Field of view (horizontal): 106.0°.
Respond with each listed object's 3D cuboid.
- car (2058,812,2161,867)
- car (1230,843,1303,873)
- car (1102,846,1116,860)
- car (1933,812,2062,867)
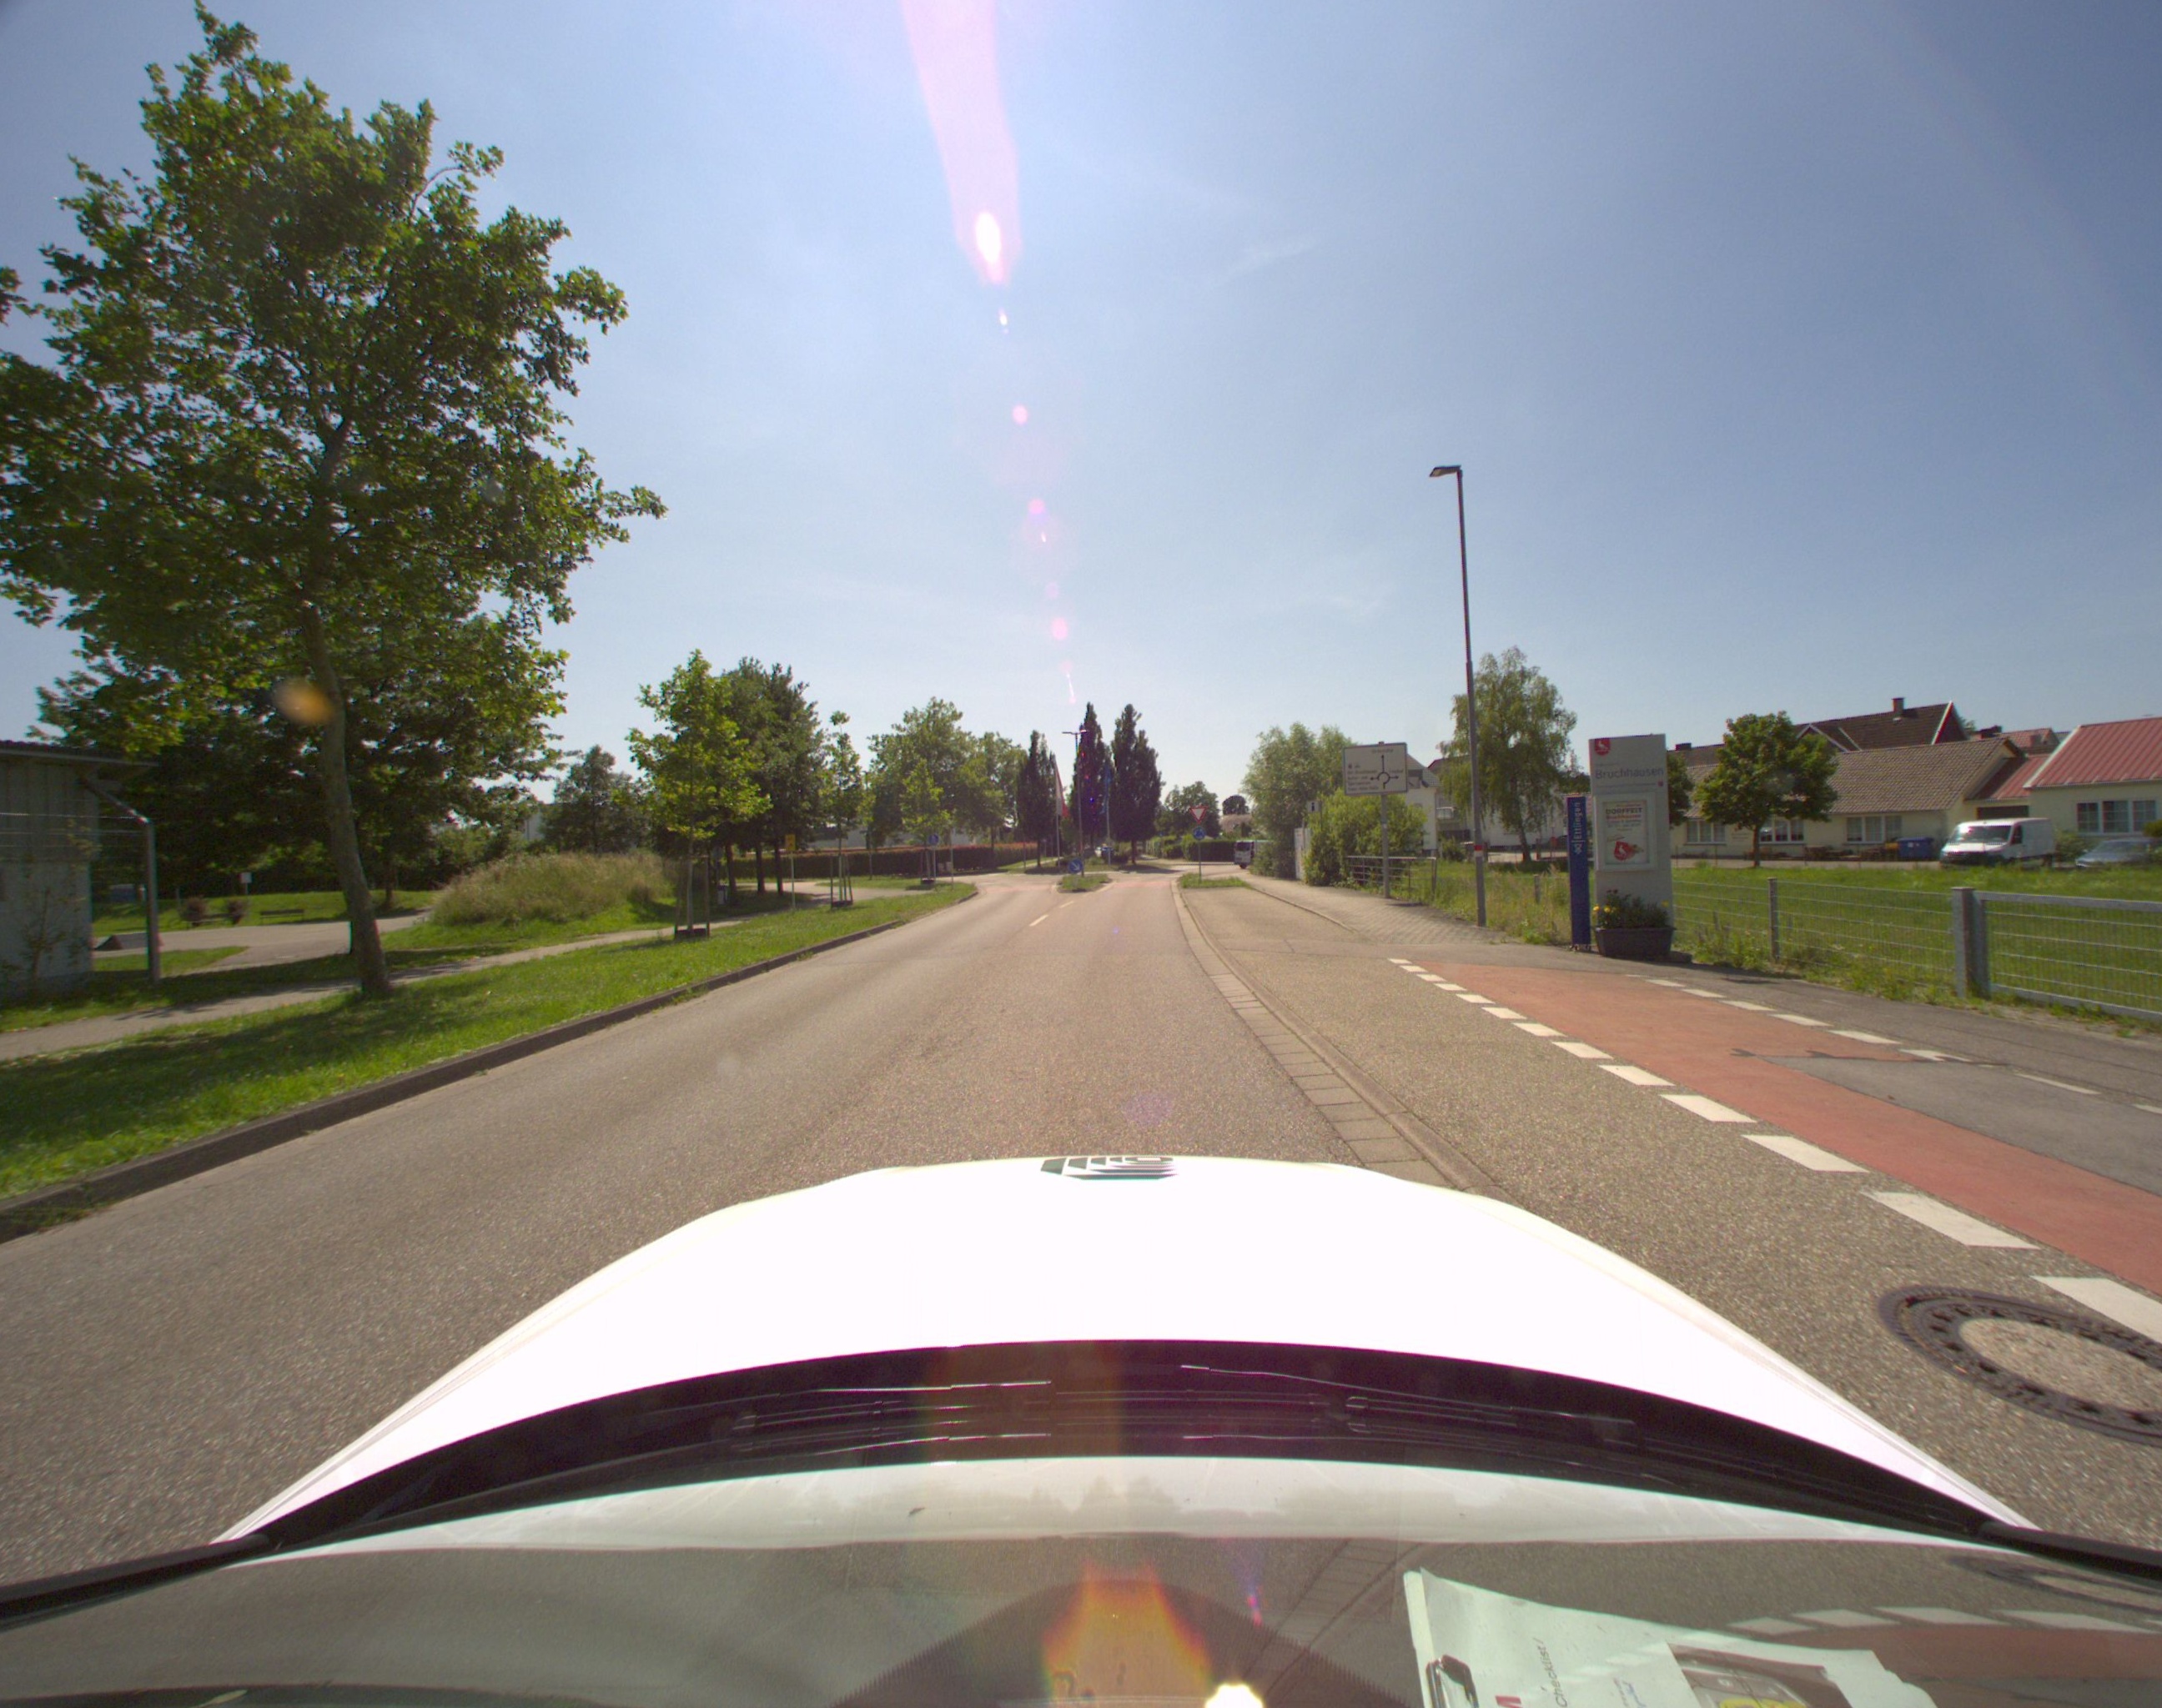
[{"bbox_3d":[40.271,-0.554,31.407,4.939,2.013,2.053,-1,0,-24],"label":"car"},{"bbox_3d":[12.979,0.258,56.939,5.172,2.013,2.111,-1,0,-36],"label":"car"},{"bbox_3d":[3.739,-0.114,109.699,1.916,1.886,4.001,-1,0,1],"label":"car"},{"bbox_3d":[39.226,-0.600,34.846,5.191,2.201,2.198,-1,0,-24],"label":"car"}]
